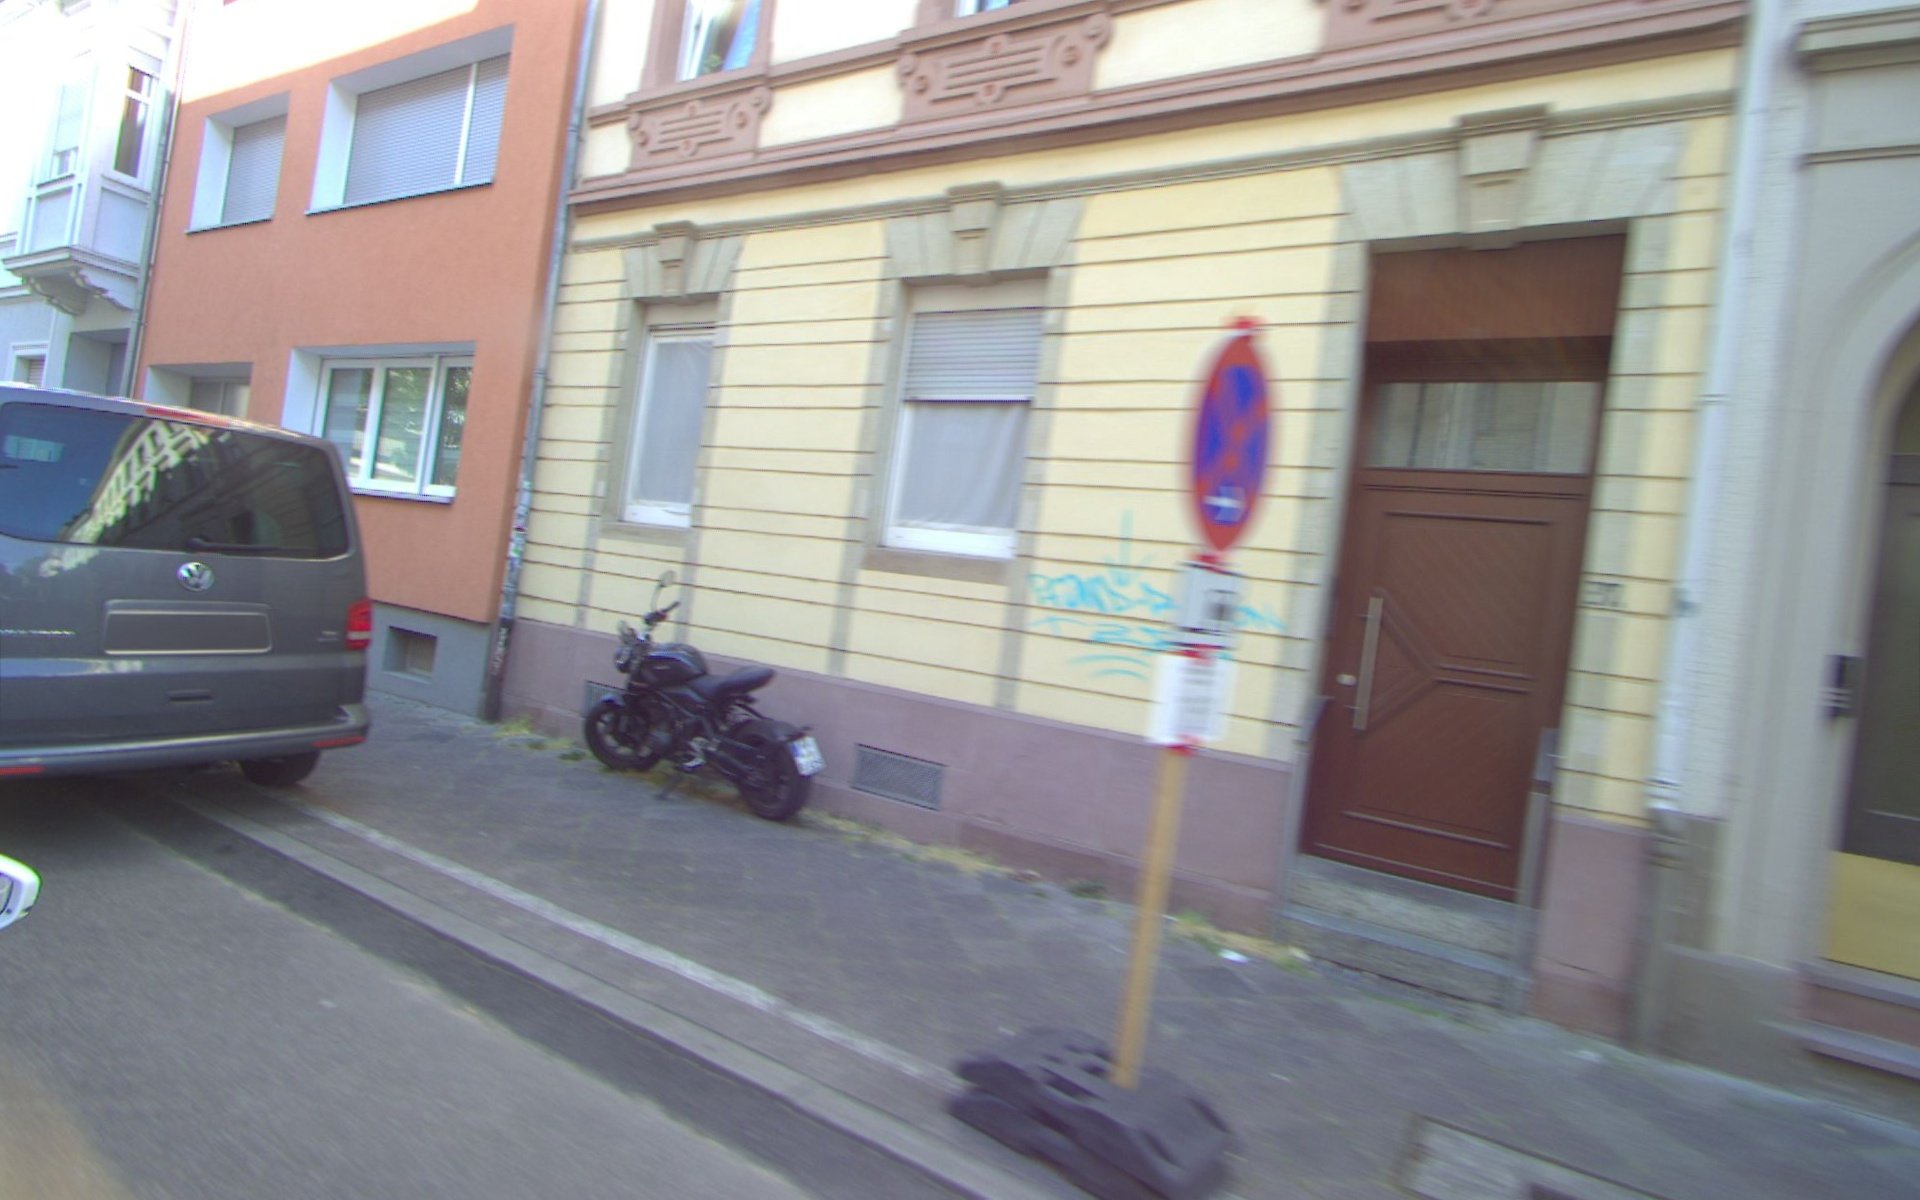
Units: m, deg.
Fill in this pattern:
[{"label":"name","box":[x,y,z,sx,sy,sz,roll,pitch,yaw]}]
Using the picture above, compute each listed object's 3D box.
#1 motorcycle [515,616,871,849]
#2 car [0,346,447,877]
[{"label":"motorcycle","box":[-1.759,0.771,6.426,2.323,1.056,0.638,6,-1,30]},{"label":"car","box":[-5.438,-0.099,5.740,4.816,2.051,1.976,7,-3,31]}]
